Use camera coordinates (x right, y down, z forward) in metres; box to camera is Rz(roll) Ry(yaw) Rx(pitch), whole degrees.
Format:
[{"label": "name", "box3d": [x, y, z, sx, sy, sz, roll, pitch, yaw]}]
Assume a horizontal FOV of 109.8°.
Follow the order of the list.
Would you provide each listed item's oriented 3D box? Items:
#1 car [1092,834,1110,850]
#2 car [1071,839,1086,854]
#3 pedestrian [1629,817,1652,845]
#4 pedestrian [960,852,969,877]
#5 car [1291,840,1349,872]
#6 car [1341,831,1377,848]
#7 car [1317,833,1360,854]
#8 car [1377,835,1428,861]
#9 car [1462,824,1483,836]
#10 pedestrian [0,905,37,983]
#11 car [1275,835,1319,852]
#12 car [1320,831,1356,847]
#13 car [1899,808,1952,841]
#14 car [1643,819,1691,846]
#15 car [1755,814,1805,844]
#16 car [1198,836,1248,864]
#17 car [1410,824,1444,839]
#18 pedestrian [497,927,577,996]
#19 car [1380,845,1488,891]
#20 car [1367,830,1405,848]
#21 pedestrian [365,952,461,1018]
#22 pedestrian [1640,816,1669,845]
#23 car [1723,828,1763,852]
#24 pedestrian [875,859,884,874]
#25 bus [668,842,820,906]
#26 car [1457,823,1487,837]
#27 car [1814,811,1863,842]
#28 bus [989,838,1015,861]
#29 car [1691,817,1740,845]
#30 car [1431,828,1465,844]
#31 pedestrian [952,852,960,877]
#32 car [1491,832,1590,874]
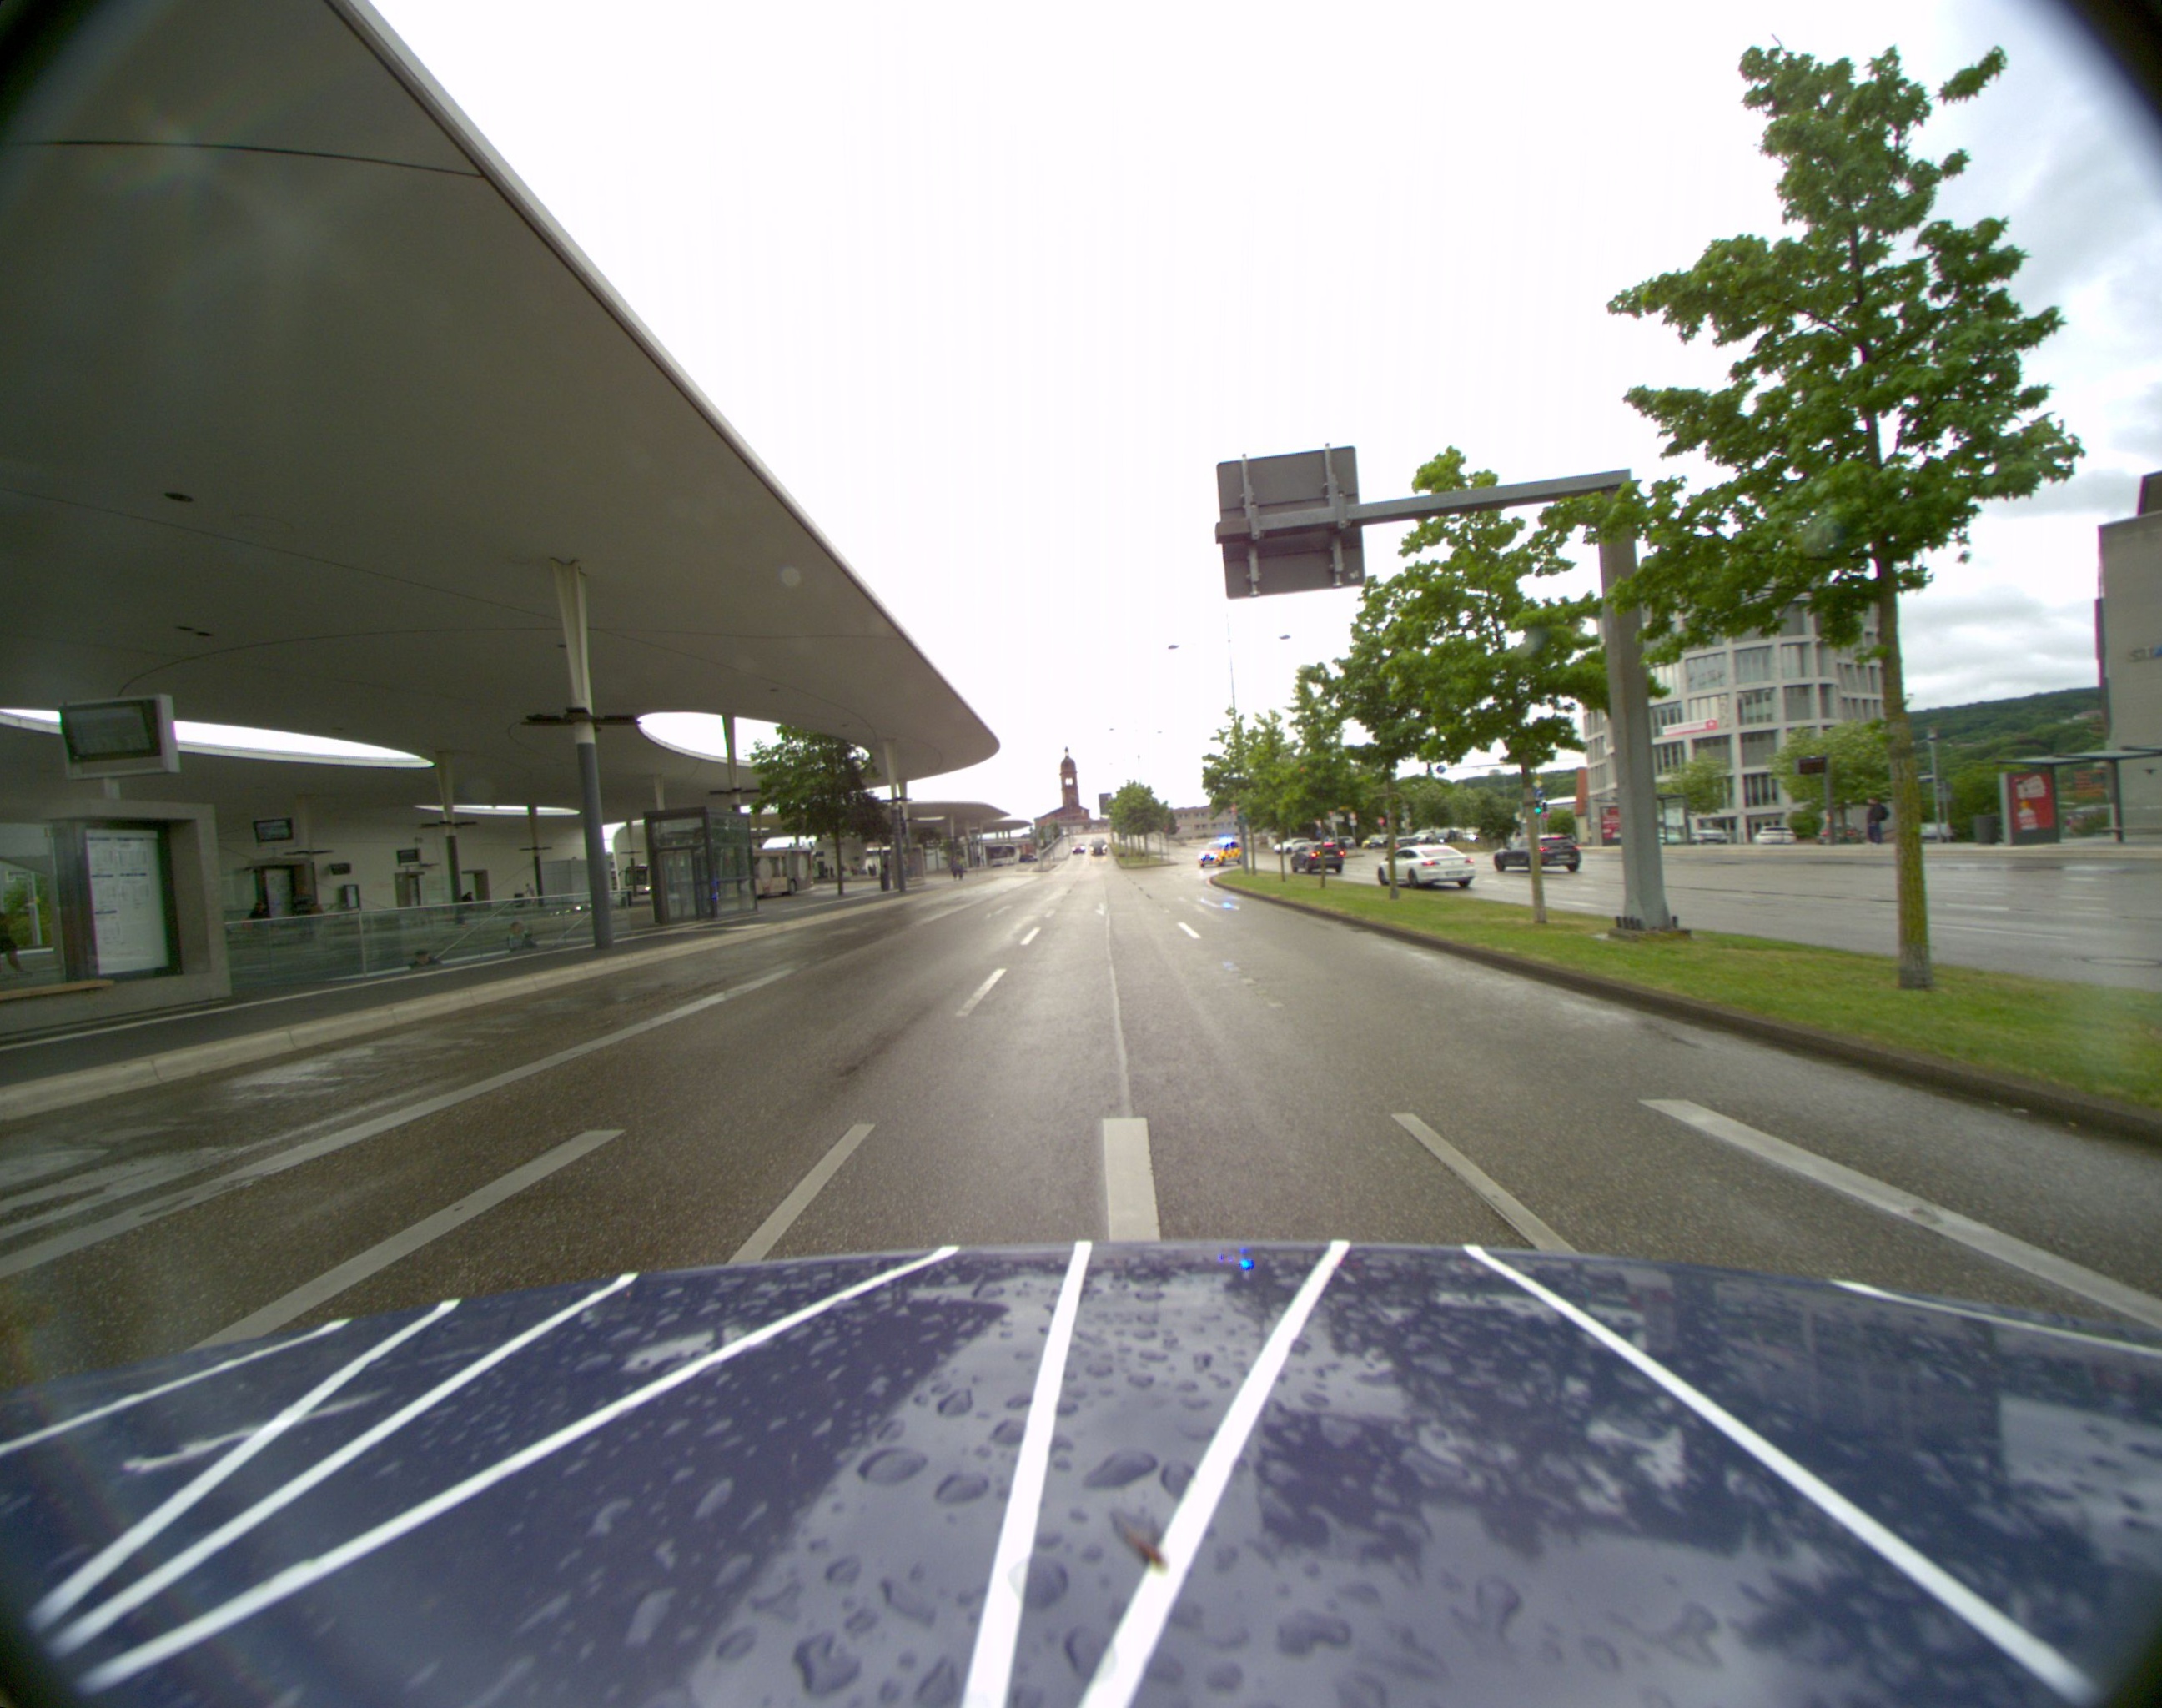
[{"label": "car", "box3d": [2.704, -1.556, 101.604, 1.999, 2.002, 3.998, -2, 1, -3]}, {"label": "car", "box3d": [-0.390, -1.106, 110.882, 1.999, 2.002, 3.999, -2, 1, -1]}, {"label": "pedestrian", "box3d": [30.584, -1.266, 41.519, 0.732, 1.481, 0.735, -2, 1, 10]}, {"label": "pedestrian", "box3d": [-8.168, 0.741, 53.340, 0.446, 1.754, 0.537, -3, 1, -5]}, {"label": "car", "box3d": [12.680, 0.077, 40.568, 2.009, 1.545, 4.165, -2, 1, 5]}, {"label": "car", "box3d": [30.342, -1.591, 82.771, 4.165, 1.692, 1.872, -3, 1, -42]}, {"label": "car", "box3d": [23.363, -0.970, 68.943, 4.165, 1.692, 1.872, -3, 1, -43]}, {"label": "car", "box3d": [20.707, -0.435, 49.128, 1.884, 1.545, 4.002, -2, 1, 5]}, {"label": "car", "box3d": [53.107, -3.272, 102.970, 1.872, 1.625, 4.165, -1, 1, 37]}, {"label": "pedestrian", "box3d": [-21.658, 1.803, 15.291, 0.478, 1.505, 0.535, -3, 1, 6]}, {"label": "car", "box3d": [22.310, -1.102, 78.611, 4.053, 1.550, 1.809, -2, 1, -22]}, {"label": "car", "box3d": [28.744, -1.682, 84.986, 4.164, 1.624, 1.872, -3, 1, -39]}, {"label": "car", "box3d": [46.843, -1.627, 42.206, 4.165, 1.692, 1.872, -3, 1, -43]}, {"label": "car", "box3d": [39.080, -1.461, 50.637, 4.165, 1.692, 1.872, -3, 1, -43]}, {"label": "car", "box3d": [42.824, -1.555, 46.528, 4.165, 1.692, 1.872, -3, 1, -43]}, {"label": "car", "box3d": [11.167, -0.357, 59.385, 1.995, 2.002, 5.070, -1, 1, 33]}, {"label": "car", "box3d": [39.406, -2.568, 86.521, 4.309, 1.625, 1.872, -3, 1, -41]}, {"label": "pedestrian", "box3d": [-11.261, 2.212, 15.762, 0.882, 1.268, 0.958, -2, 1, 5]}, {"label": "car", "box3d": [11.962, 0.416, 26.062, 2.009, 1.345, 4.165, -2, 1, 4]}, {"label": "car", "box3d": [30.896, -1.530, 76.993, 4.165, 1.692, 1.872, -3, 1, -42]}, {"label": "pedestrian", "box3d": [-12.461, 2.429, 14.208, 0.882, 1.048, 0.958, -2, 1, 5]}, {"label": "pedestrian", "box3d": [30.555, -1.251, 40.501, 0.983, 1.481, 0.735, -2, 1, 12]}, {"label": "car", "box3d": [51.050, -1.098, 58.588, 4.165, 1.692, 1.872, -3, 1, -43]}, {"label": "pedestrian", "box3d": [-28.326, 1.756, 106.760, 1.025, 2.002, 0.879, -2, 1, -14]}, {"label": "bus", "box3d": [-18.642, 0.878, 43.368, 2.876, 3.064, 11.921, -2, 1, 2]}, {"label": "car", "box3d": [48.582, -2.947, 94.327, 4.165, 1.625, 1.872, -3, 1, -41]}, {"label": "car", "box3d": [44.758, -1.631, 44.872, 4.165, 1.692, 1.872, -3, 1, -43]}, {"label": "bus", "box3d": [-12.005, -0.648, 114.349, 3.584, 3.080, 10.747, -3, 0, -7]}, {"label": "car", "box3d": [40.724, -1.495, 48.743, 4.165, 1.692, 1.872, -3, 1, -43]}, {"label": "car", "box3d": [39.520, -1.949, 81.806, 4.165, 1.625, 1.872, -3, 1, -42]}, {"label": "pedestrian", "box3d": [-8.758, 0.723, 53.320, 0.445, 1.754, 0.537, -3, 1, -5]}, {"label": "car", "box3d": [18.746, -0.086, 31.238, 1.884, 1.545, 4.002, -2, 1, 5]}]
